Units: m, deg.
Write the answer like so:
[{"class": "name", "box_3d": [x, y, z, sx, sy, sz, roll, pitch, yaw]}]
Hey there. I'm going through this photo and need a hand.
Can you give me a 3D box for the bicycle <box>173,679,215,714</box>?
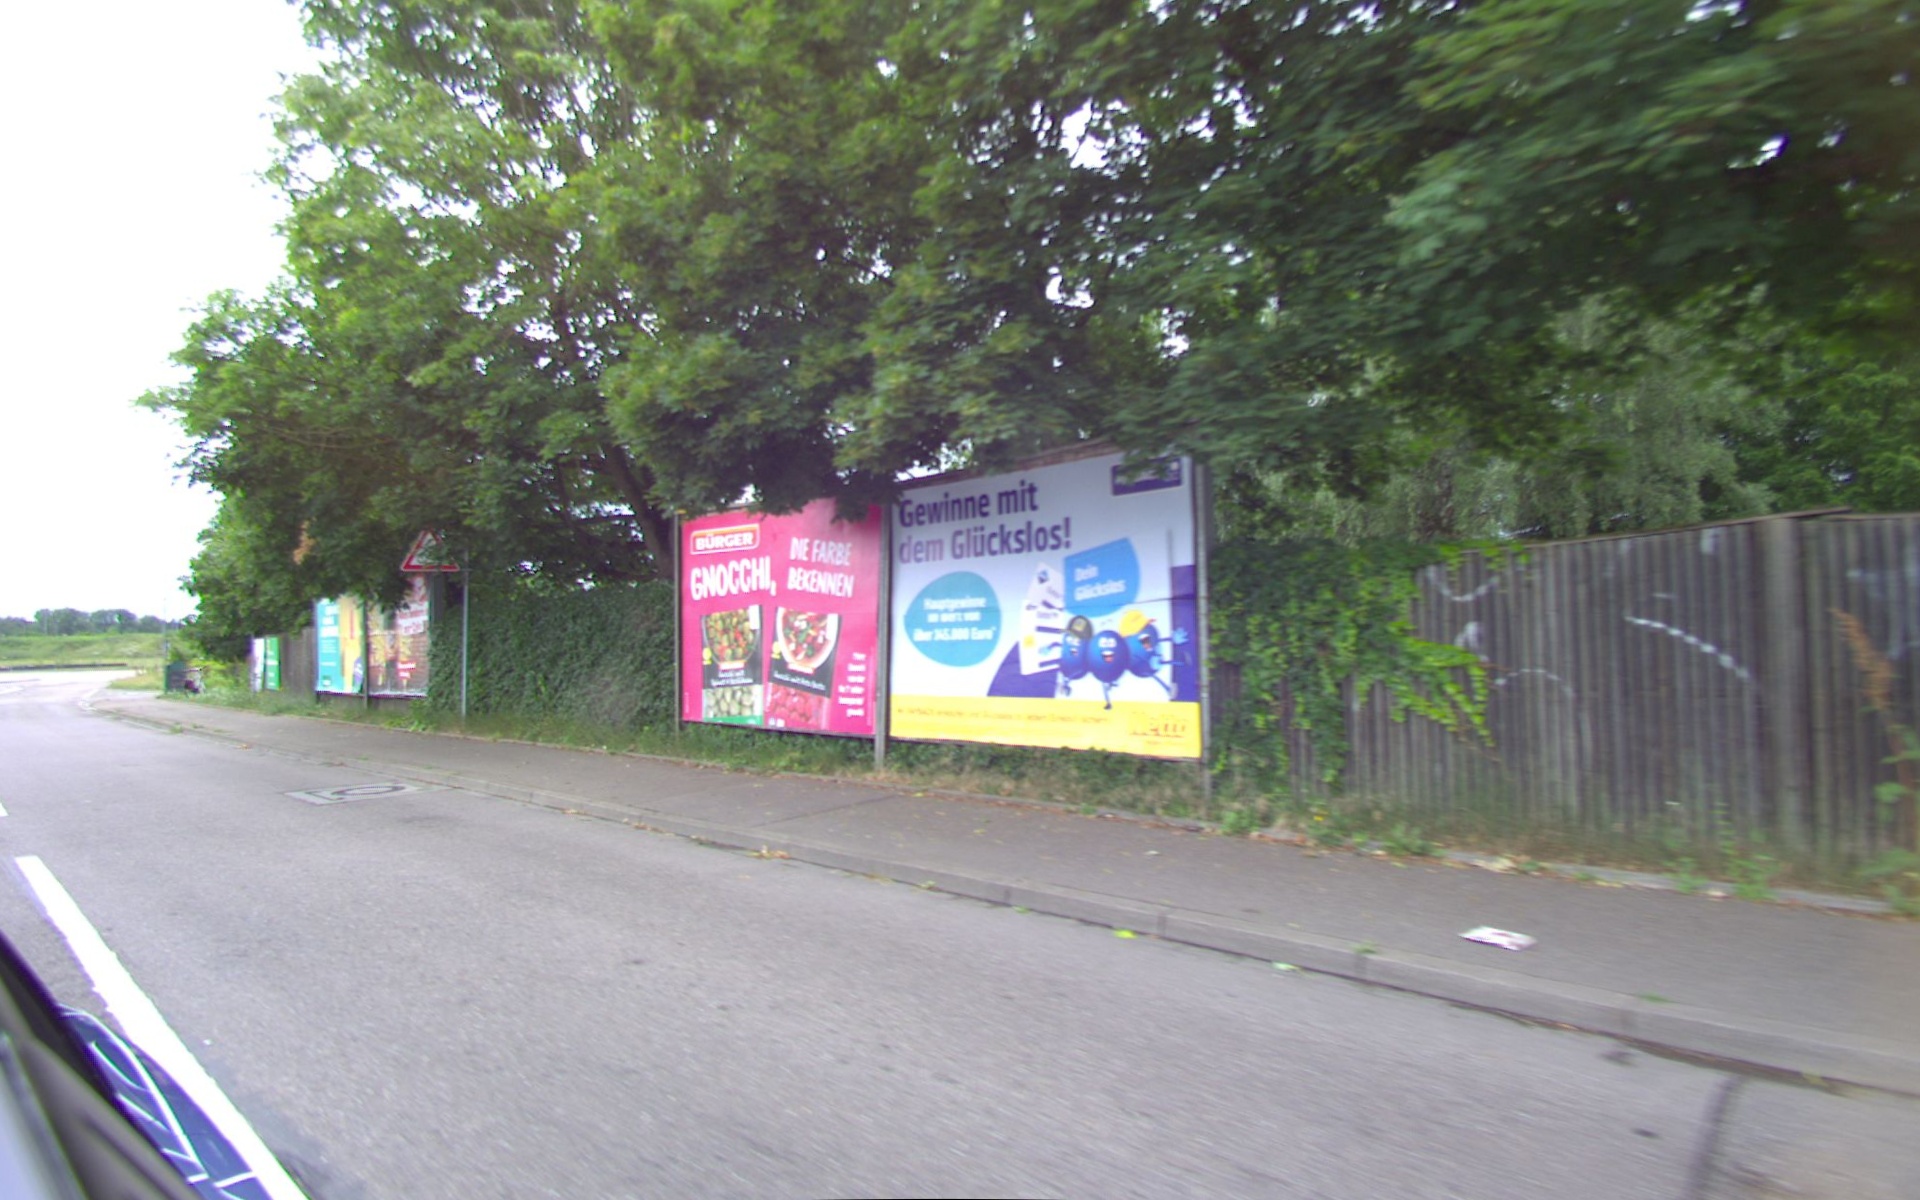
[{"class": "bicycle", "box_3d": [-24.801, 3.107, 32.789, 0.574, 1.006, 1.775, -3, -1, -21]}]
